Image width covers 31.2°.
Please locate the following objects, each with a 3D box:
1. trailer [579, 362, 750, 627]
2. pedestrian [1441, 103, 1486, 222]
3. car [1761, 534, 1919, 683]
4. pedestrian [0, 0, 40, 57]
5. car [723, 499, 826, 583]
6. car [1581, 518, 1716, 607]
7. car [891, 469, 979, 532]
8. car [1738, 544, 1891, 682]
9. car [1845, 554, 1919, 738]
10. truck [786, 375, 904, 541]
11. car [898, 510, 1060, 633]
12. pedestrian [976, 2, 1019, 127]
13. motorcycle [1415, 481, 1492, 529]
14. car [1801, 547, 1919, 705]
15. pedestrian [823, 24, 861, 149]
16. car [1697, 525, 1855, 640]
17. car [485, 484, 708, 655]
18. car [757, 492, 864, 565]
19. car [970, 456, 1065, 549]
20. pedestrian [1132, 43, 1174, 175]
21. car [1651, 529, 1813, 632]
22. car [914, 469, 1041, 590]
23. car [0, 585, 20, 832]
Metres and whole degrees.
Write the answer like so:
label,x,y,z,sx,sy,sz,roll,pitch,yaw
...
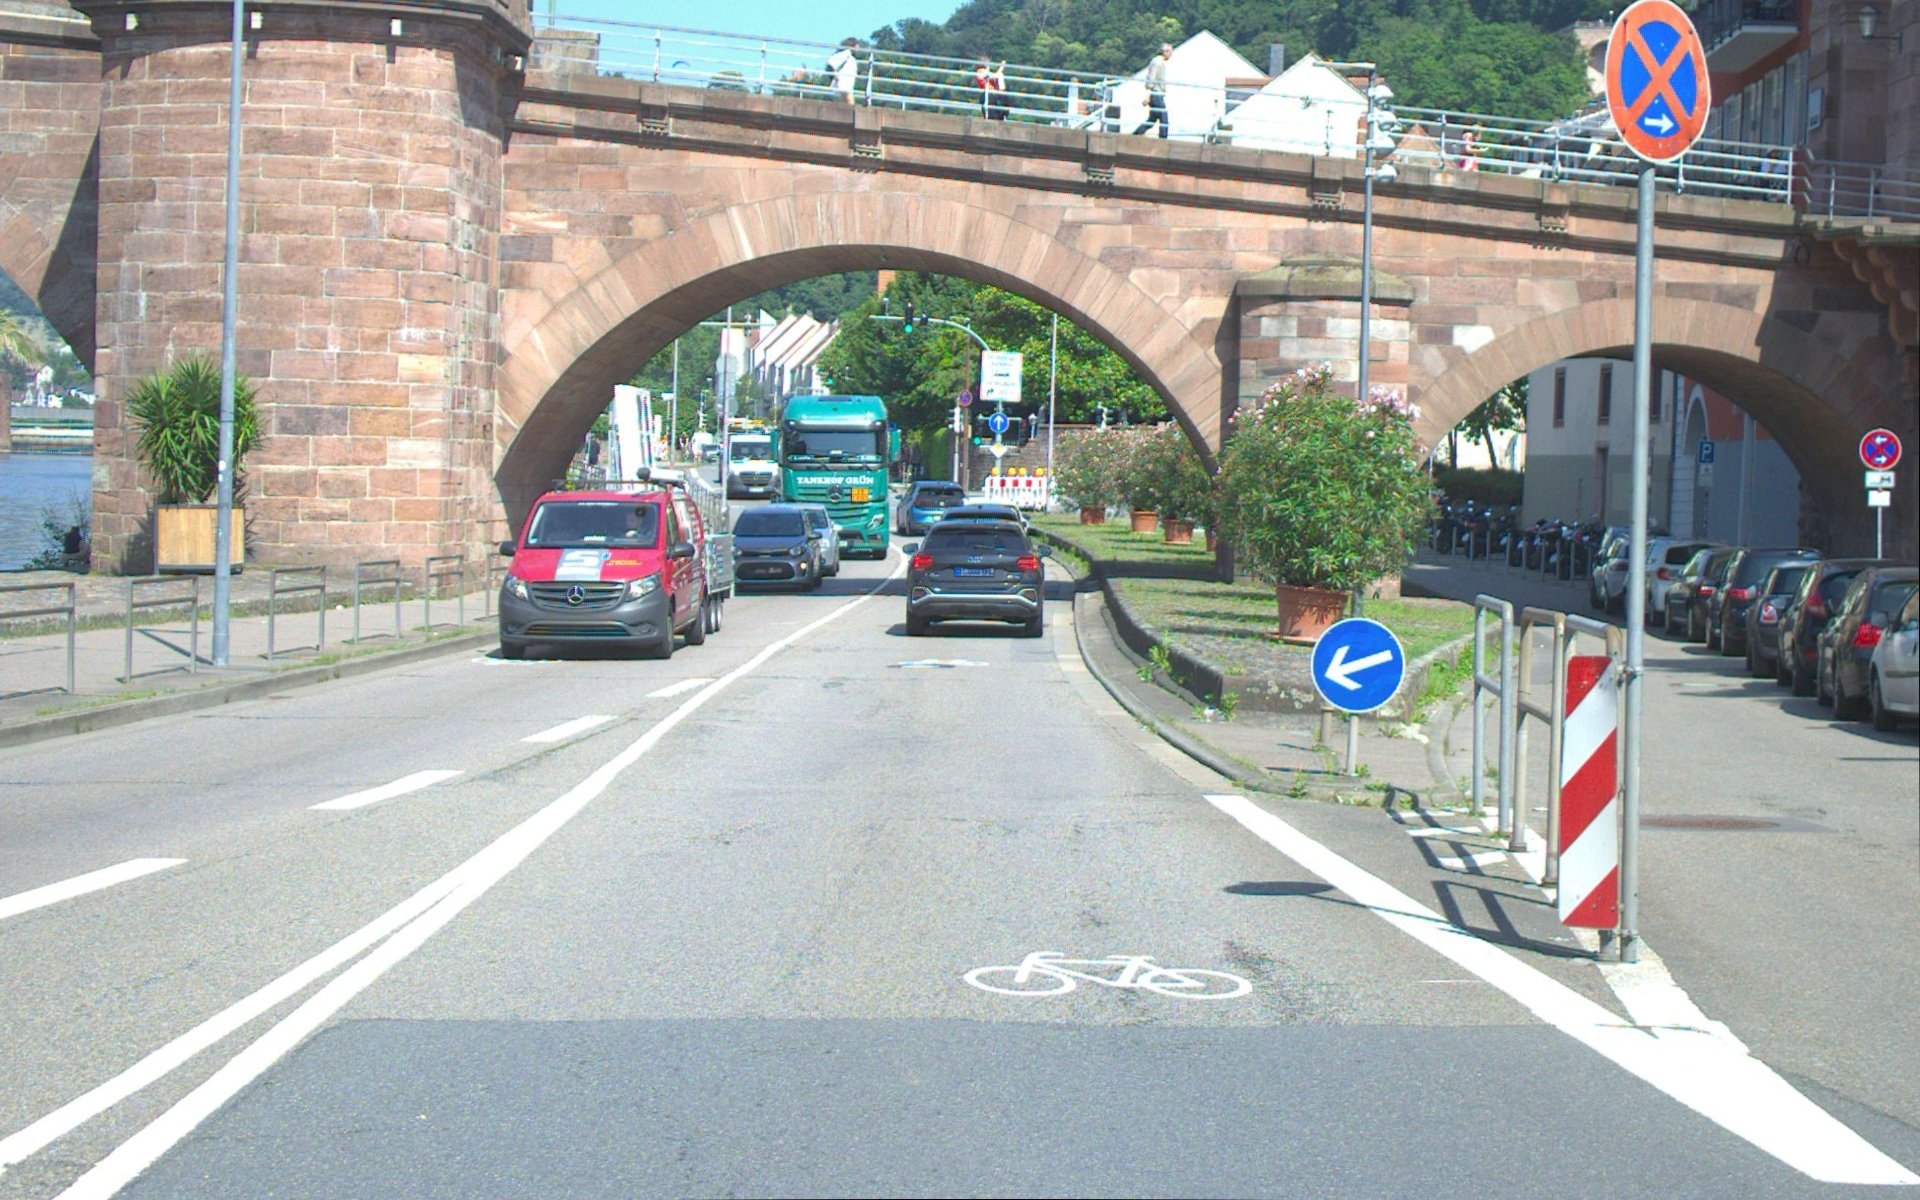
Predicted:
label,x,y,z,sx,sy,sz,roll,pitch,yaw
trailer,-3.803,-1.374,44.757,1.742,3.308,3.384,0,2,3
pedestrian,8.722,-7.571,59.531,0.684,2.006,0.586,1,2,2
car,9.686,0.054,37.602,1.495,1.479,3.715,2,2,9
pedestrian,-15.193,-9.806,55.356,0.623,2.006,0.695,1,2,-5
car,-3.312,-1.088,61.926,1.535,1.431,3.728,0,2,2
car,12.682,-0.730,63.561,1.893,1.487,4.416,1,2,4
car,-0.719,-2.785,95.985,1.993,1.656,4.001,1,2,-7
car,10.473,0.118,42.319,1.592,1.515,3.901,2,2,11
car,8.661,0.383,28.742,1.711,1.452,3.547,2,2,3
truck,-2.640,-3.382,80.661,2.523,3.735,6.247,0,3,0
car,0.299,-0.412,45.440,1.857,1.518,4.000,1,2,4
pedestrian,0.626,-8.971,57.591,0.684,2.006,0.586,1,2,2
motorcycle,13.258,-2.558,92.310,2.191,1.262,0.628,-1,3,-36
car,9.071,0.200,32.875,1.711,1.383,4.406,0,1,10
pedestrian,-1.970,-8.593,57.574,0.581,2.006,0.586,1,2,2
car,11.493,-0.284,48.639,1.776,1.497,3.985,1,2,8
car,-4.096,-0.402,39.455,1.874,1.821,4.544,0,2,3
car,-3.026,-1.466,70.340,1.723,1.432,4.400,0,1,4
car,1.271,-2.208,77.593,1.993,2.006,4.001,1,2,-1
pedestrian,3.050,-7.770,54.444,0.623,2.006,0.695,1,2,3
car,12.038,-0.336,53.841,1.776,1.431,4.492,1,2,4
car,0.341,-1.245,59.785,1.994,2.006,4.000,1,2,3
car,-5.551,0.574,15.181,1.671,1.190,3.629,0,1,2
